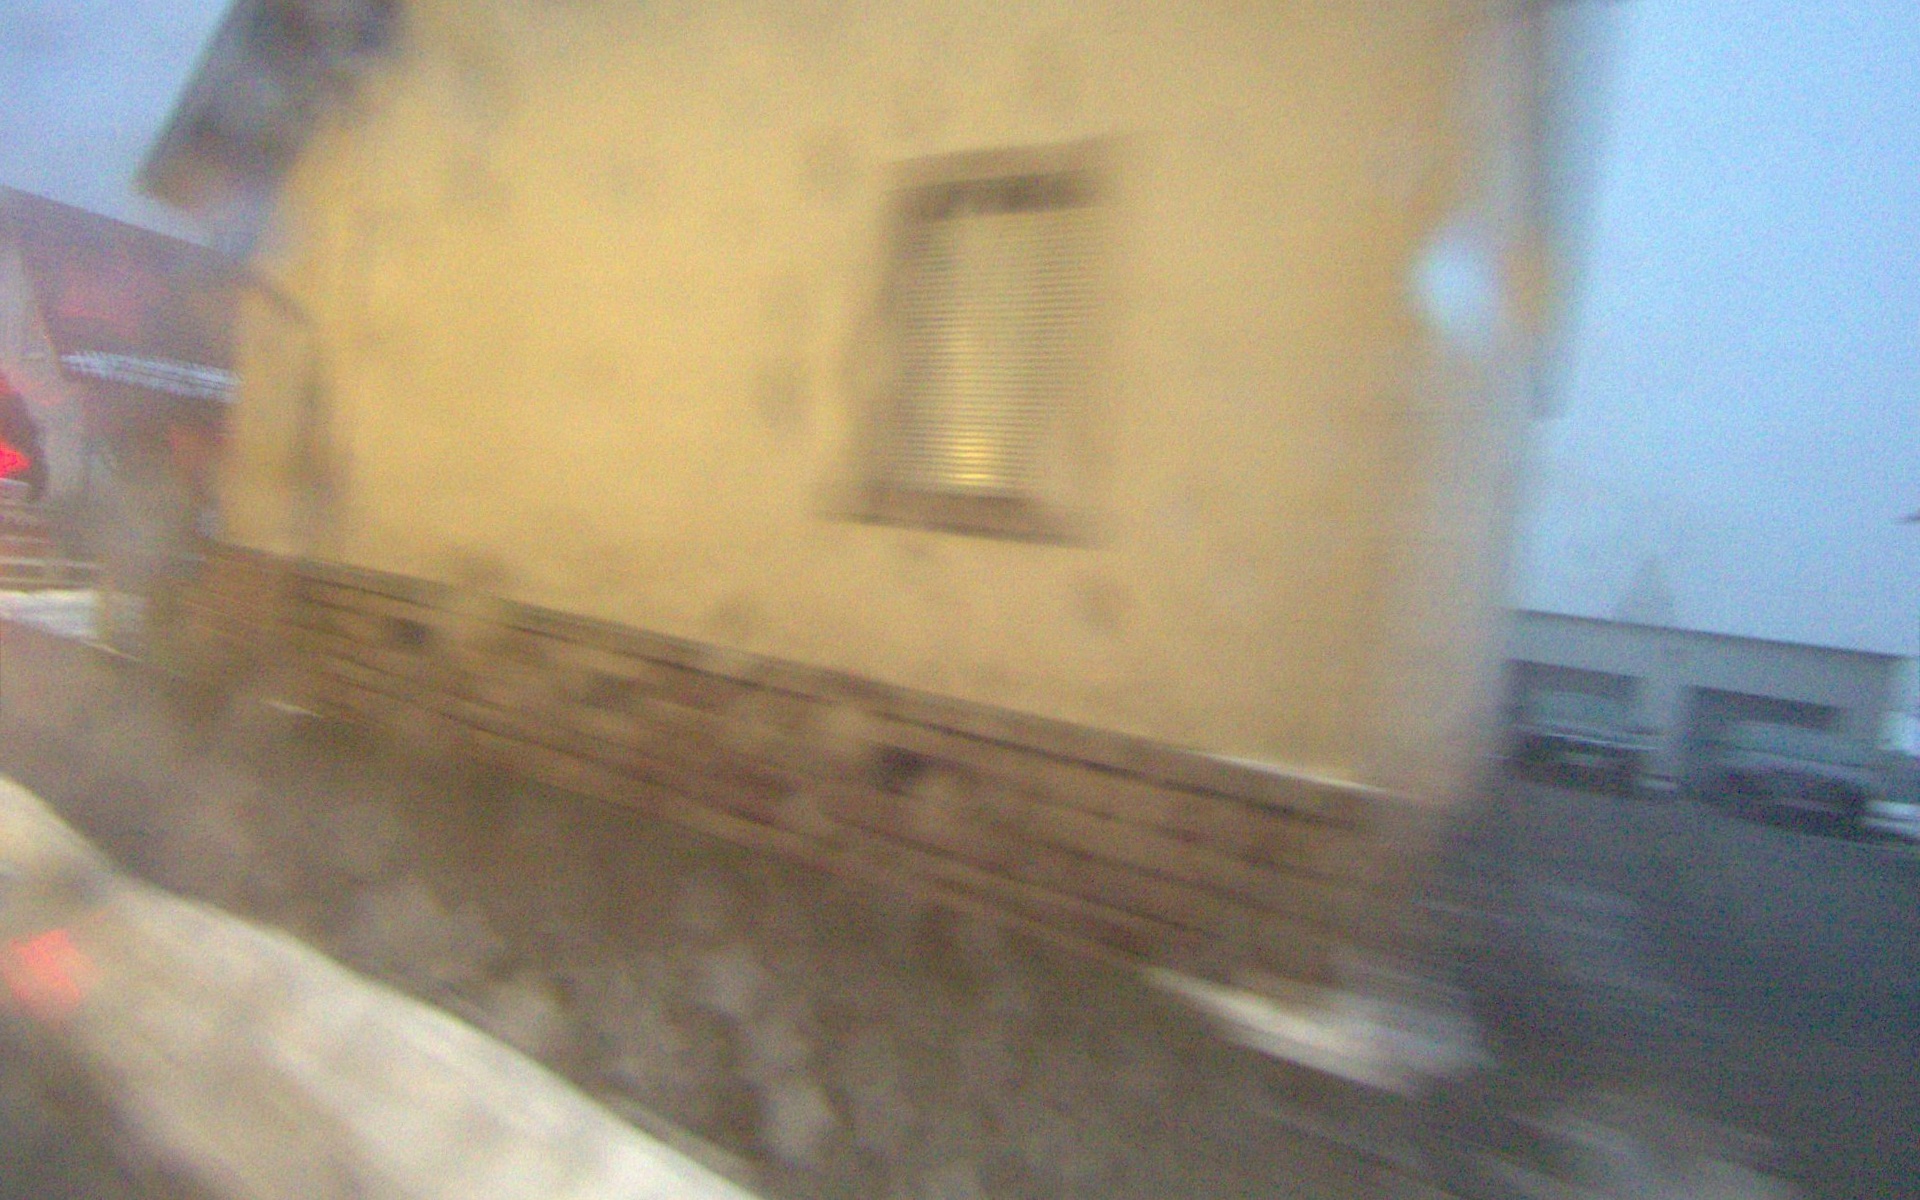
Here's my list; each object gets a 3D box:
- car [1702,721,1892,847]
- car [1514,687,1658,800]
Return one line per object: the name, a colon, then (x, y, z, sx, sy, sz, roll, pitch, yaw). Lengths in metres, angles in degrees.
car: (12.024, 2.557, 14.700, 1.551, 1.261, 3.992, 11, 0, 34)
car: (9.917, 2.204, 15.872, 1.551, 1.261, 3.992, 11, 0, 34)
